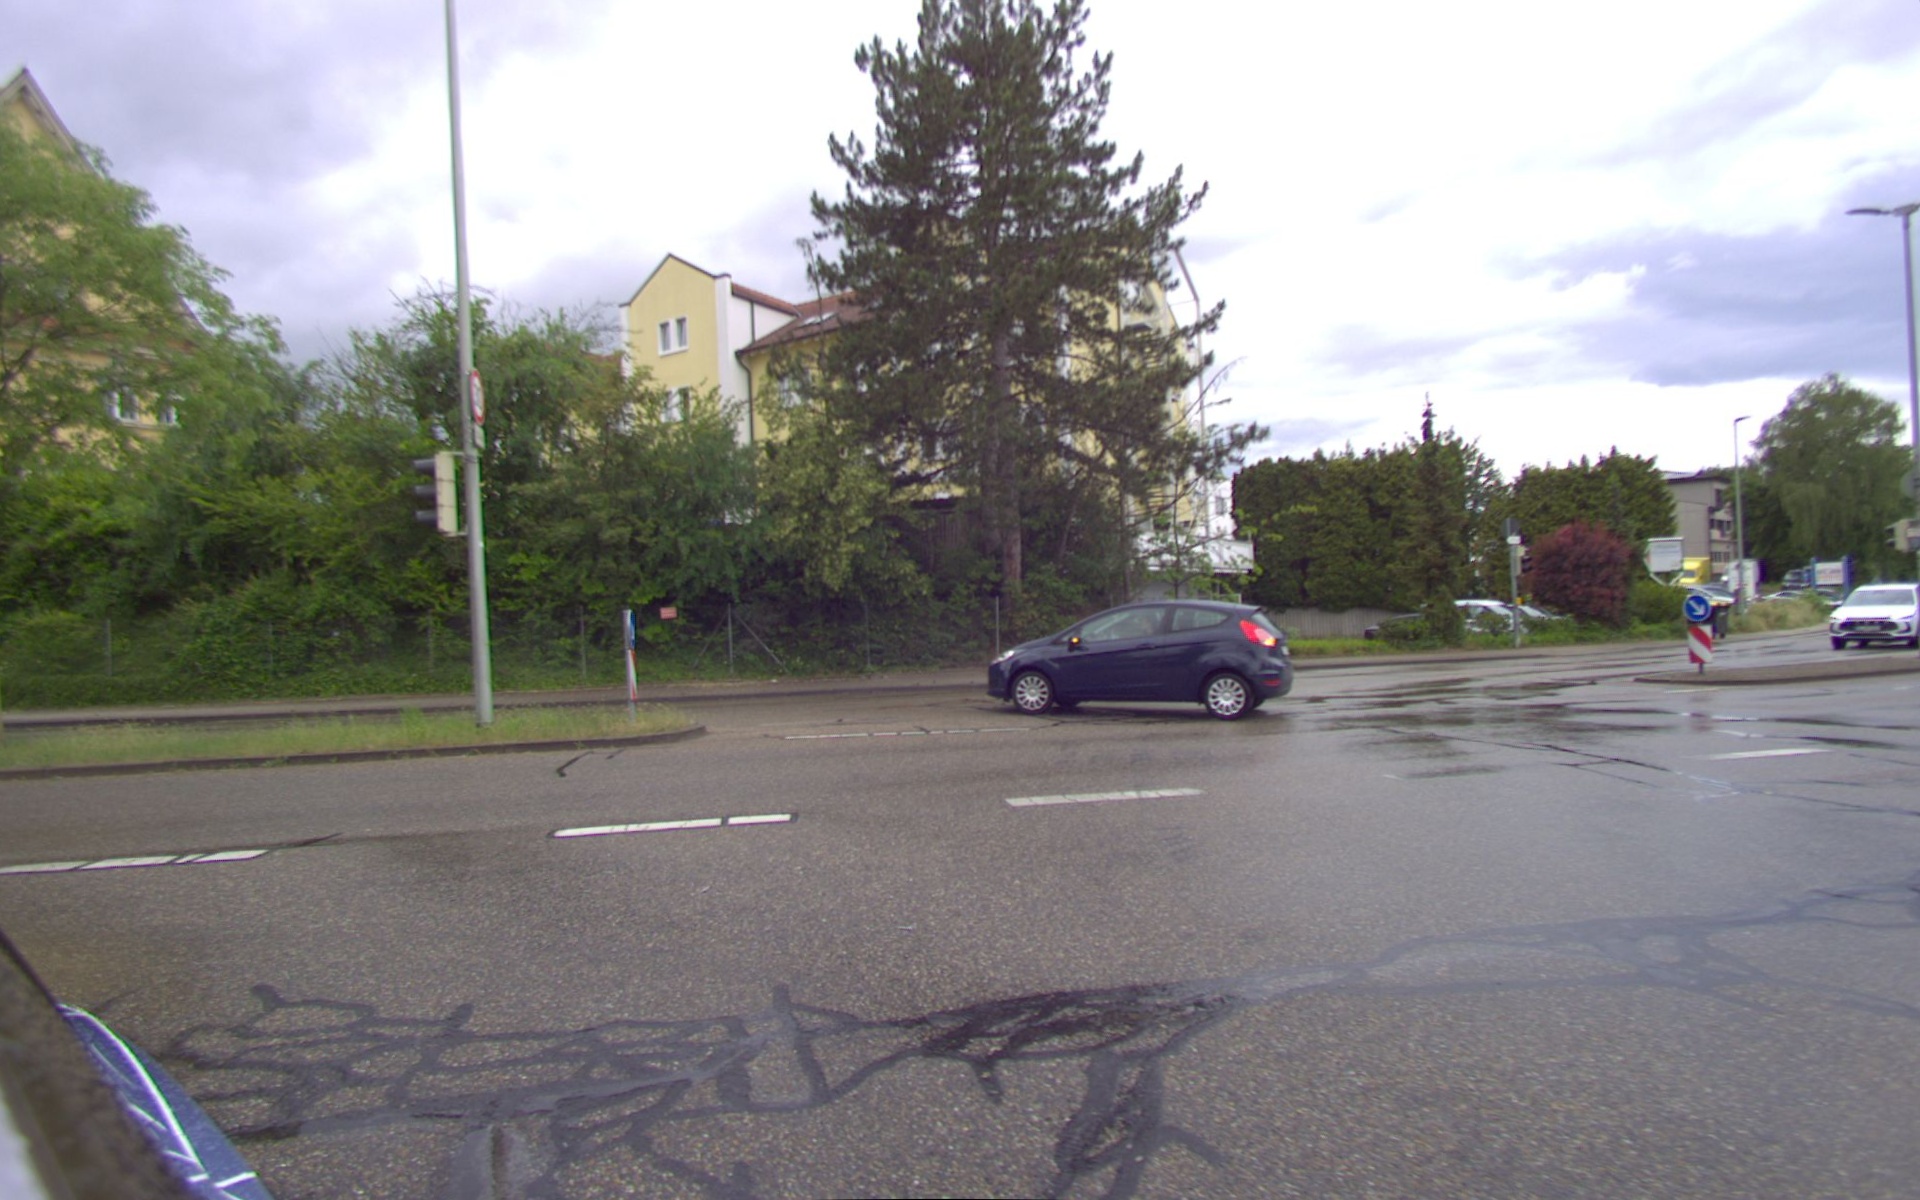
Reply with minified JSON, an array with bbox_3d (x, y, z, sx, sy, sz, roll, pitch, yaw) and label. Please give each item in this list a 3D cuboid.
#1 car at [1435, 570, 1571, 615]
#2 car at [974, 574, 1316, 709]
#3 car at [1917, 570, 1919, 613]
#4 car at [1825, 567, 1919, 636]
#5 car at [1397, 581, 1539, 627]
[{"bbox_3d":[19.906,-0.263,37.238,1.705,1.404,4.009,-6,2,-37],"label":"car"},{"bbox_3d":[2.394,0.490,13.130,3.980,1.512,1.908,-1,0,27],"label":"car"},{"bbox_3d":[30.772,-0.076,30.882,3.940,1.829,2.002,-2,-1,-44],"label":"car"},{"bbox_3d":[24.301,0.007,26.357,3.937,1.652,2.003,-3,0,-40],"label":"car"},{"bbox_3d":[17.941,0.181,35.883,1.967,1.475,4.010,-3,0,-35],"label":"car"}]
